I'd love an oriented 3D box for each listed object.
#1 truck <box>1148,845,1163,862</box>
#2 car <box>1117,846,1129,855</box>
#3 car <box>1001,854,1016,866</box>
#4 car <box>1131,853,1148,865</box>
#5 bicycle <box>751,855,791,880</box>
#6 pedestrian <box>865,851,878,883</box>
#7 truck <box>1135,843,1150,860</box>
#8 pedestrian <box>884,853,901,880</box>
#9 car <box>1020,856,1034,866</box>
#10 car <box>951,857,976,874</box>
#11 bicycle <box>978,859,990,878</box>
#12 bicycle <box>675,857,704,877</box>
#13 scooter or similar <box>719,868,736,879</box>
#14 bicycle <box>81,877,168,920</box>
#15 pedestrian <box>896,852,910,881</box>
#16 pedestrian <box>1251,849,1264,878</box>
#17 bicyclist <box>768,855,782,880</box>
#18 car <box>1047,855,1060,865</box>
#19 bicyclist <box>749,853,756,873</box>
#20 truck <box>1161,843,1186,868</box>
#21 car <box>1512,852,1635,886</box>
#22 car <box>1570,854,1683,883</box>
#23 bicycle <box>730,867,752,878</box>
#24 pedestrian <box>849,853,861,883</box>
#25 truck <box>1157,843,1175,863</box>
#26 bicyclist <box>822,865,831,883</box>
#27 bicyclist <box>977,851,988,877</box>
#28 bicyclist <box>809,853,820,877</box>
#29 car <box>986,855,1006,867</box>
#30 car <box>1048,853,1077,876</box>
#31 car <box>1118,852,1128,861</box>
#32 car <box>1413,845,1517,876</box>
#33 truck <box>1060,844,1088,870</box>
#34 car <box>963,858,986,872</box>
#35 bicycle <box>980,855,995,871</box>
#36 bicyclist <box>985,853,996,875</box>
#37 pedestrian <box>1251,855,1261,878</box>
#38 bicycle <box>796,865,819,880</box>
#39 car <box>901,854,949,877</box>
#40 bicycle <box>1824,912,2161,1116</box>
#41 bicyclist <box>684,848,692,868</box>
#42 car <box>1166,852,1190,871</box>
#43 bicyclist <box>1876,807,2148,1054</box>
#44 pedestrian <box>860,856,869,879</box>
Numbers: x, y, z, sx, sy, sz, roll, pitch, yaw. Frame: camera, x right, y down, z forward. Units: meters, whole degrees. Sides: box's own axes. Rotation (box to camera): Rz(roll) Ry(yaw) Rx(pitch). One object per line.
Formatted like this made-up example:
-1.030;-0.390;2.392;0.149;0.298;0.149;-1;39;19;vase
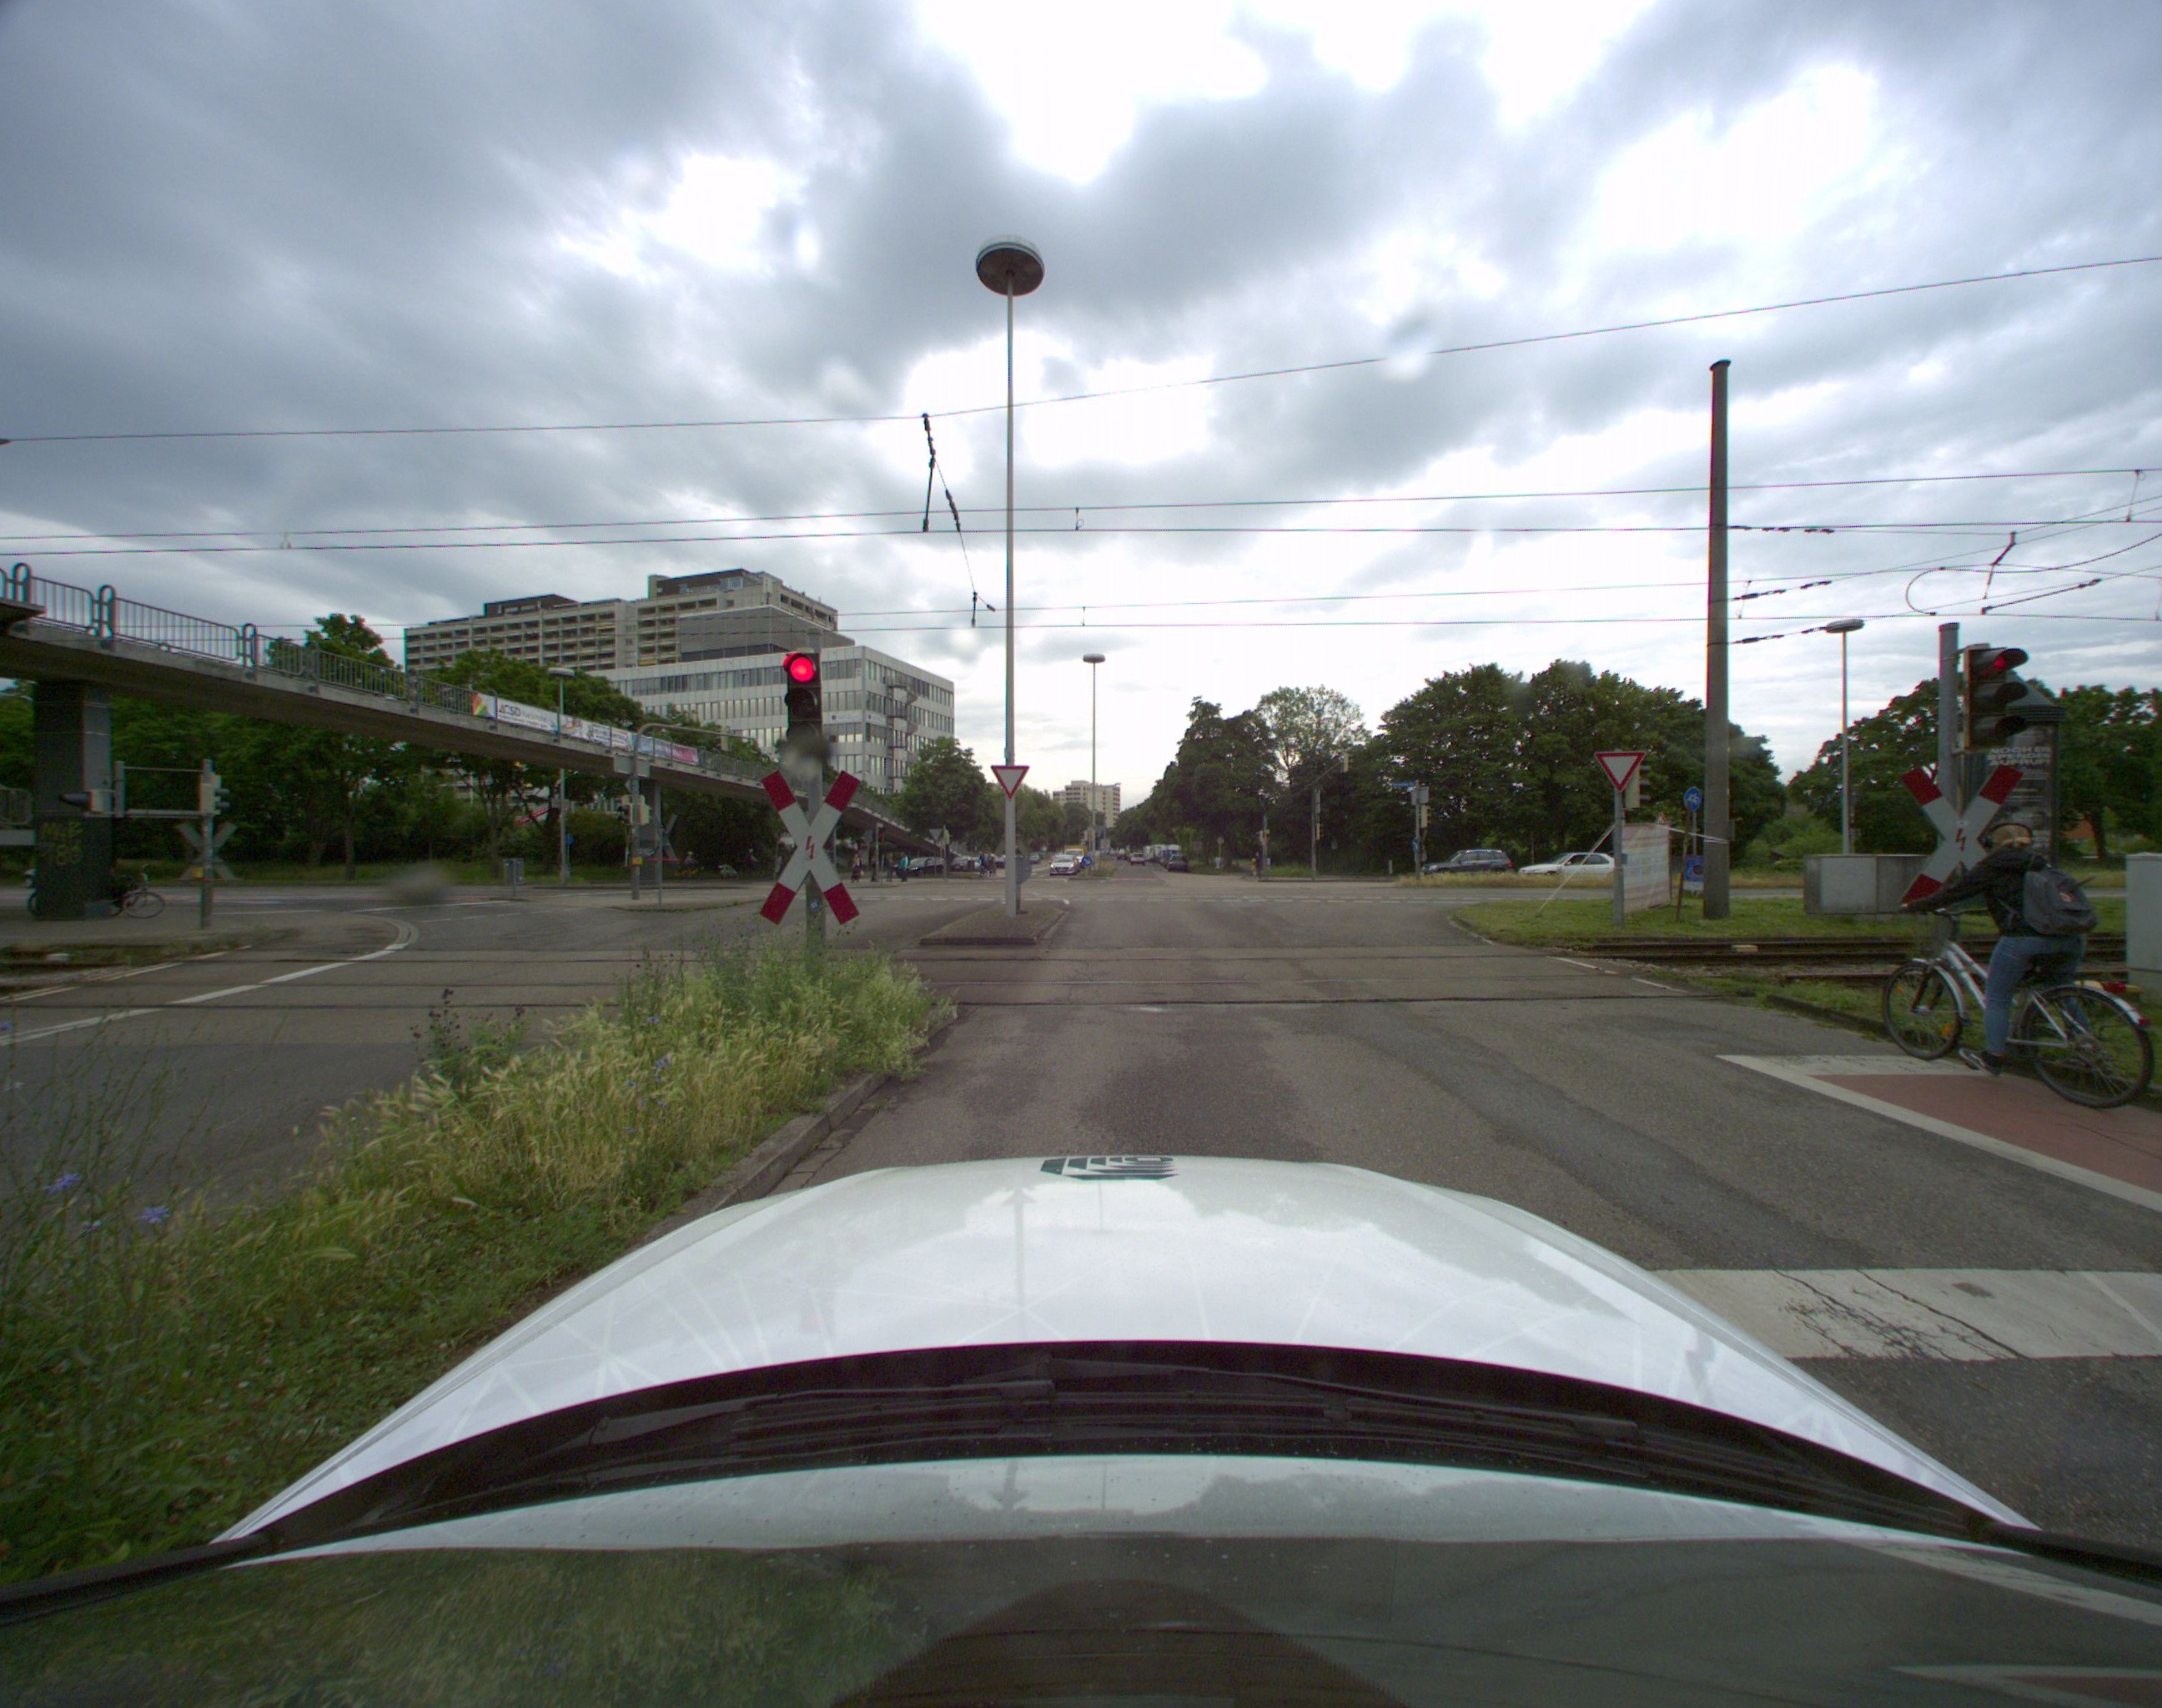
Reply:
12.083;-0.064;132.085;1.987;2.573;5.377;0;-1;0;truck
7.231;-0.643;140.452;2.013;1.505;4.002;0;0;2;car
-9.497;0.797;106.880;1.439;1.552;3.666;0;0;2;car
7.549;0.605;105.240;2.013;1.505;4.002;0;0;2;car
-20.569;0.890;54.052;2.356;1.625;0.526;0;0;-7;bicycle
-11.887;0.742;46.216;0.636;1.803;0.800;0;0;-7;pedestrian
10.778;-0.443;142.920;1.988;3.009;5.768;0;-1;-1;truck
-10.700;0.716;46.197;0.917;1.511;0.402;0;0;-10;pedestrian
-8.317;1.113;126.003;1.665;1.552;4.003;0;0;3;car
-11.217;1.044;78.095;1.665;1.552;3.894;0;0;3;car
-6.628;0.998;55.780;0.541;1.267;2.112;0;0;2;bicycle
-25.670;0.868;53.420;1.704;1.304;0.388;0;0;-10;bicycle
-23.506;1.275;54.117;1.001;0.715;0.402;0;0;-34;scooter or similar
-21.676;1.001;18.449;2.017;0.921;0.375;0;0;13;bicycle
-10.097;0.691;46.169;0.685;1.605;0.487;0;0;-3;pedestrian
10.644;0.575;49.167;0.654;1.750;0.459;0;0;1;pedestrian
-20.344;0.889;54.080;0.747;1.625;0.526;0;0;-7;bicyclist
-4.123;0.886;121.697;1.505;1.390;3.537;0;-1;4;car
-22.219;0.595;55.063;0.385;1.303;0.275;0;0;-35;bicyclist
10.264;0.210;90.675;2.166;2.656;6.249;-1;-1;2;truck
20.449;0.624;33.932;4.120;1.357;1.648;0;0;2;car
27.380;0.713;40.976;4.447;1.440;1.847;0;0;2;car
-22.809;1.214;54.614;1.303;0.692;0.287;0;0;-34;bicycle
-12.728;0.799;45.904;0.619;1.691;0.403;0;0;-12;pedestrian
12.487;-0.172;119.994;1.988;2.838;5.727;0;0;-2;truck
-17.176;1.370;54.958;0.403;1.181;0.378;0;1;4;bicyclist
-6.785;0.689;56.093;0.642;1.768;0.647;0;0;1;bicyclist
-18.254;0.770;55.792;0.563;1.644;0.532;0;-1;2;bicyclist
-10.072;0.822;96.514;1.757;1.395;4.002;0;0;2;car
-1.269;0.716;58.039;1.782;1.519;4.327;0;0;2;car
7.768;0.456;150.703;1.549;1.505;3.998;0;0;-1;car
19.513;0.331;41.521;4.447;1.504;1.847;0;0;2;car
-0.556;0.249;72.343;2.146;2.199;5.845;0;0;3;truck
-10.872;1.104;83.585;1.665;1.387;3.898;0;0;3;car
-6.642;0.625;57.947;0.724;1.101;2.265;0;0;2;bicycle
-6.513;0.729;58.748;0.676;1.594;0.695;0;-1;1;bicyclist
10.702;0.760;49.795;0.525;1.342;0.525;0;0;1;pedestrian
-18.685;1.237;55.739;0.628;0.925;2.524;0;0;2;bicycle
-11.040;0.782;57.754;1.658;1.552;4.018;0;0;17;car
6.073;0.945;5.459;0.381;0.980;2.030;0;-1;2;bicycle
-25.750;0.260;53.422;0.405;1.253;0.276;0;0;-9;bicyclist
8.785;0.623;73.898;1.777;1.662;4.002;0;0;2;car
5.986;0.451;5.306;0.619;1.424;0.961;4;0;1;bicyclist
-15.146;0.909;56.927;0.580;1.579;0.777;0;0;-16;pedestrian
